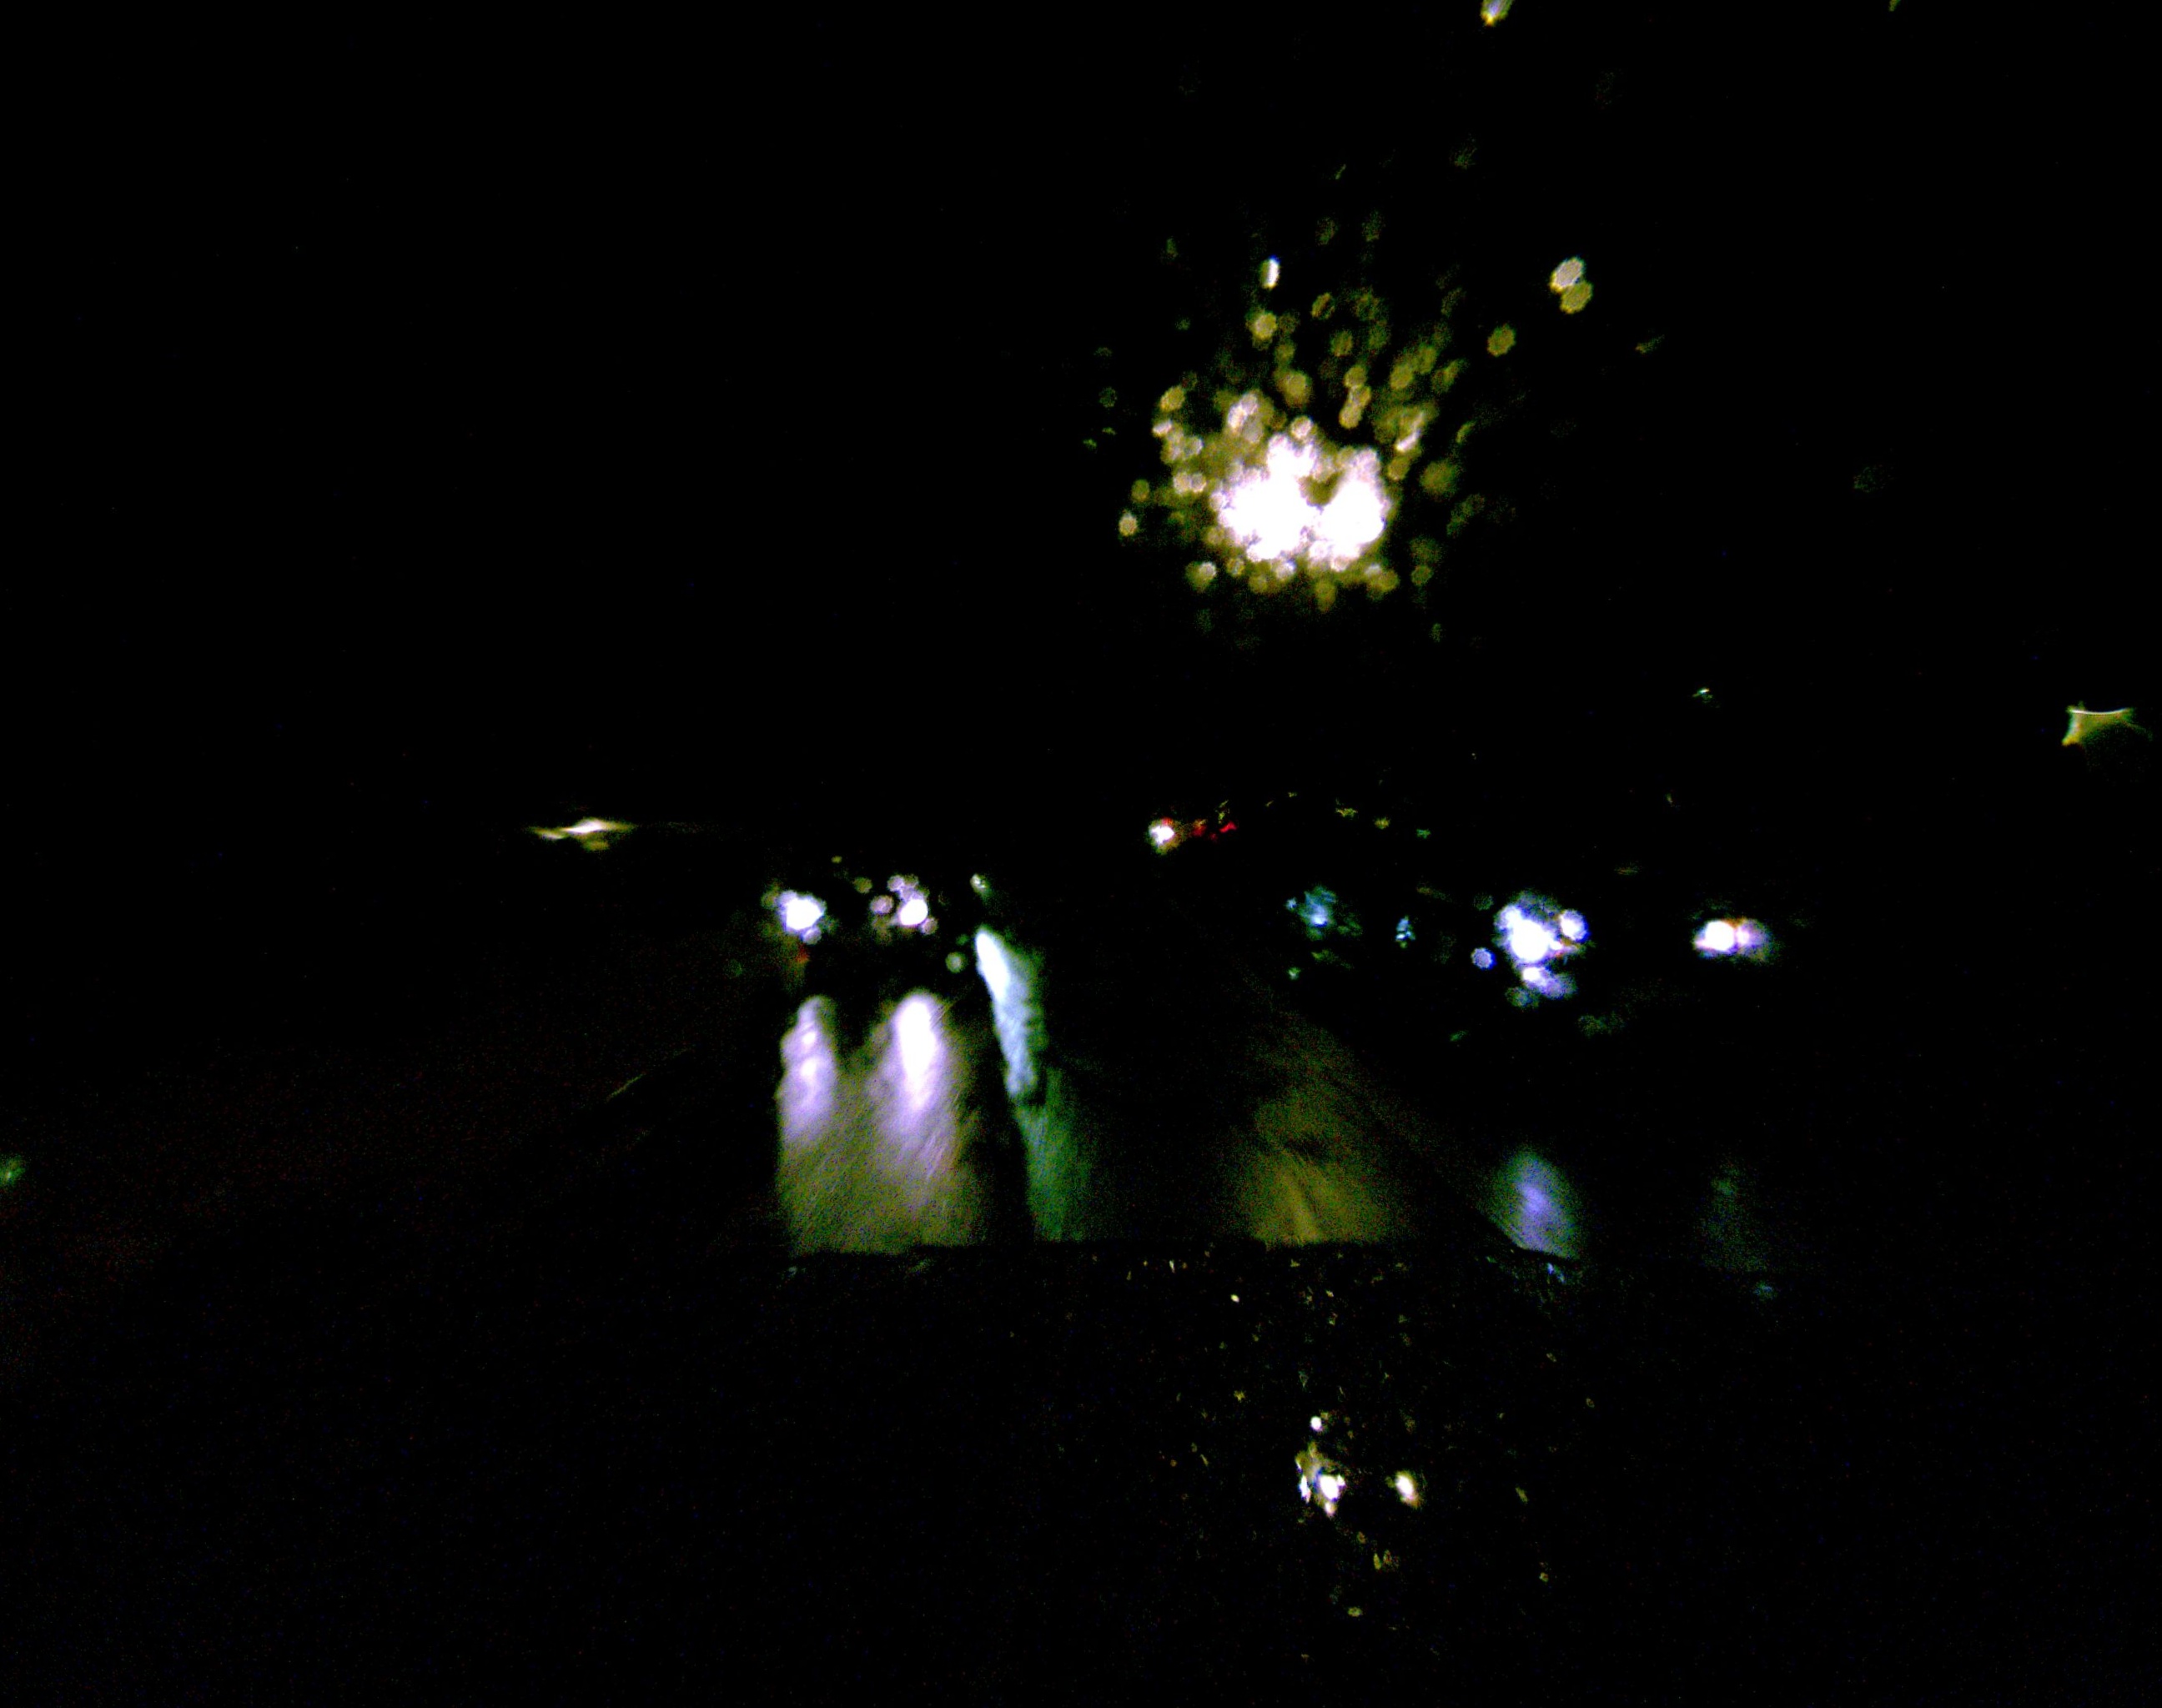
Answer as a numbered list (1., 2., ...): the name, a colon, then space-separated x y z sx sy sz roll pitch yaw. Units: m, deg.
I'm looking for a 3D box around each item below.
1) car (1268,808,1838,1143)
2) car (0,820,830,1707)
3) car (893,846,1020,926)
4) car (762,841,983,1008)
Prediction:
1. car: 3.292 0.656 6.619 1.999 1.833 4.522 -3 1 -2
2. car: -2.787 0.738 3.077 1.878 1.579 4.887 -3 1 -1
3. car: -2.831 0.659 18.459 1.998 1.544 4.694 -2 1 3
4. car: -2.617 0.756 10.642 1.794 1.802 4.198 -3 1 1
